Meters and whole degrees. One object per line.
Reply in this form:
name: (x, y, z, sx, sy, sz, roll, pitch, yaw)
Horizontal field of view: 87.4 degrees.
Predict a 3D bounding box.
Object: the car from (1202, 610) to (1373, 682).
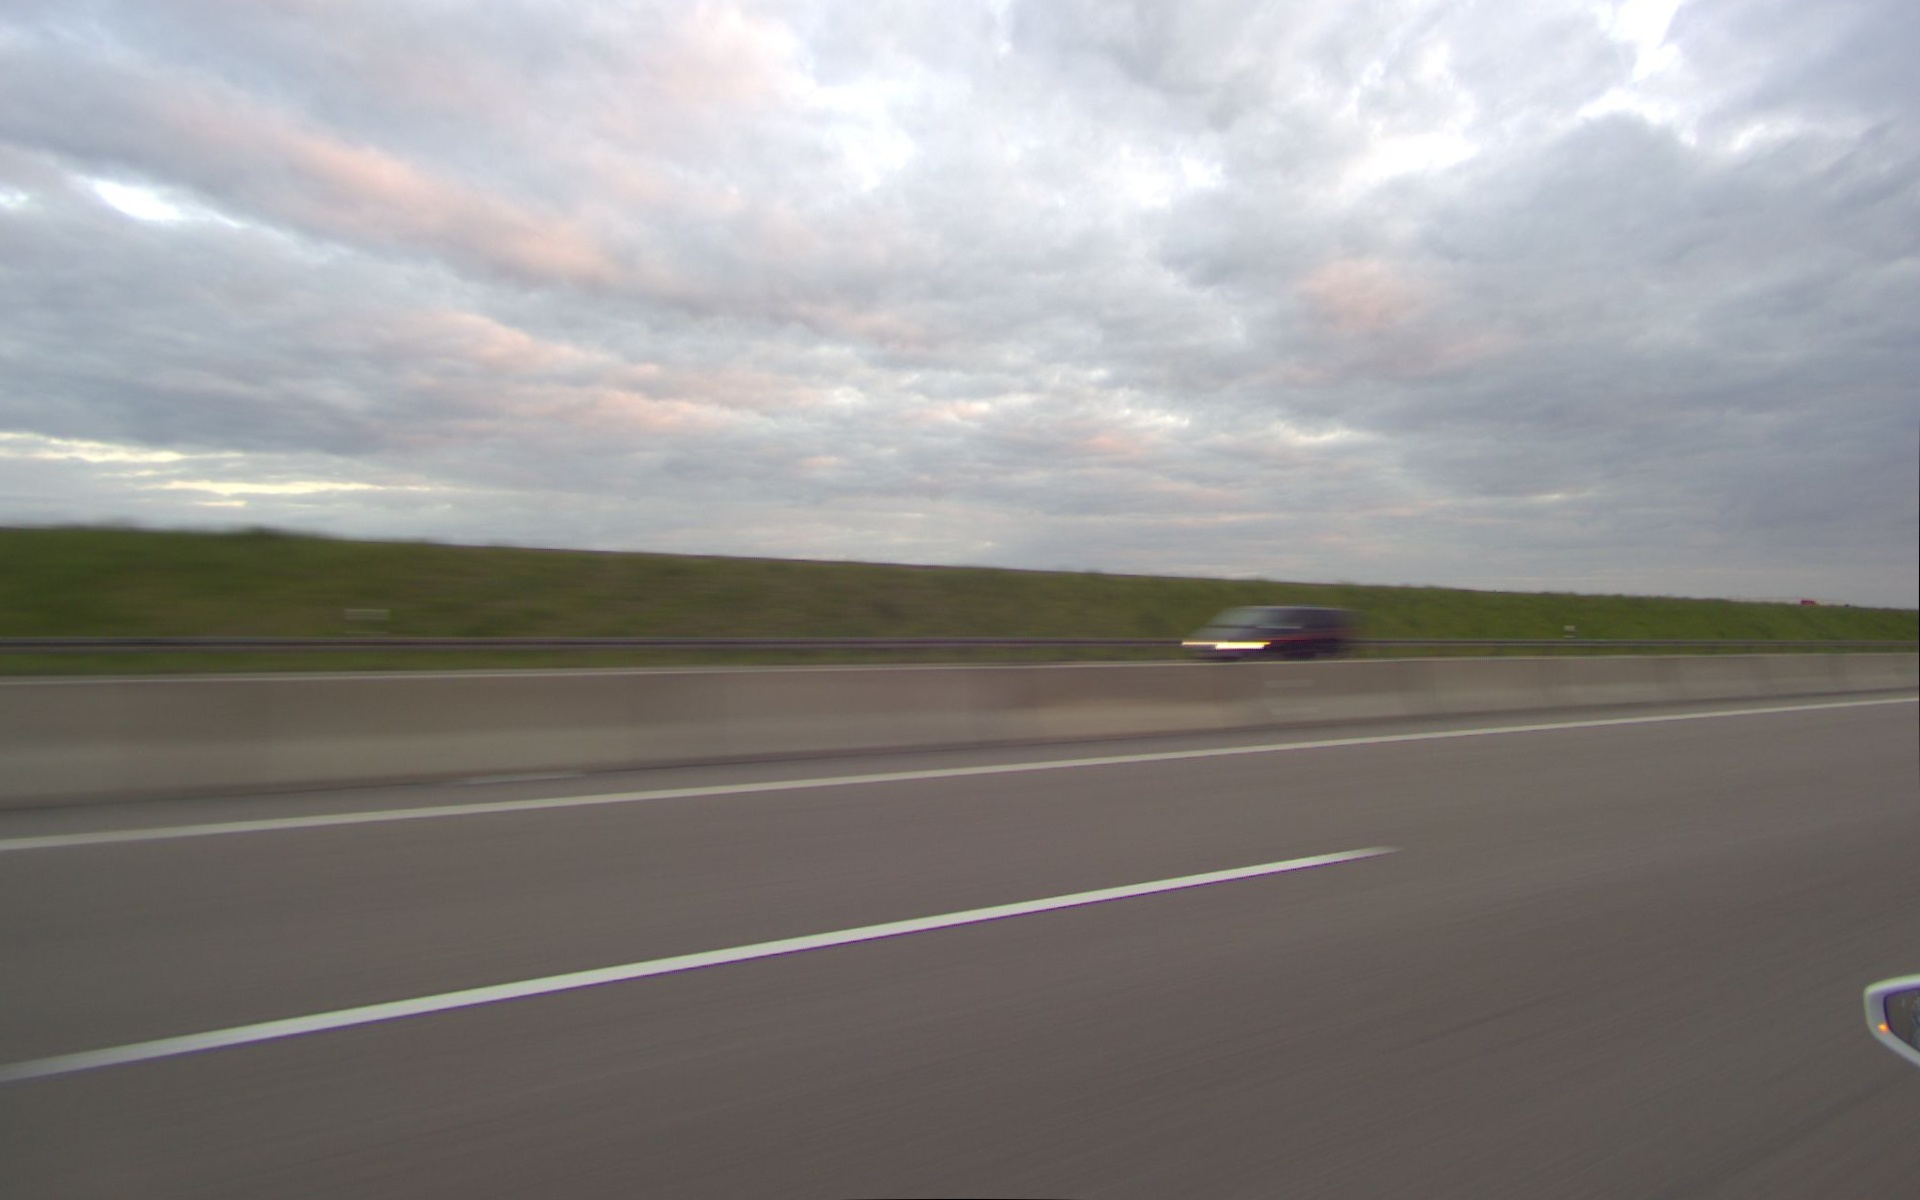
car: (9.774, 1.328, 29.881, 5.030, 1.962, 1.984, 1, 0, -30)
